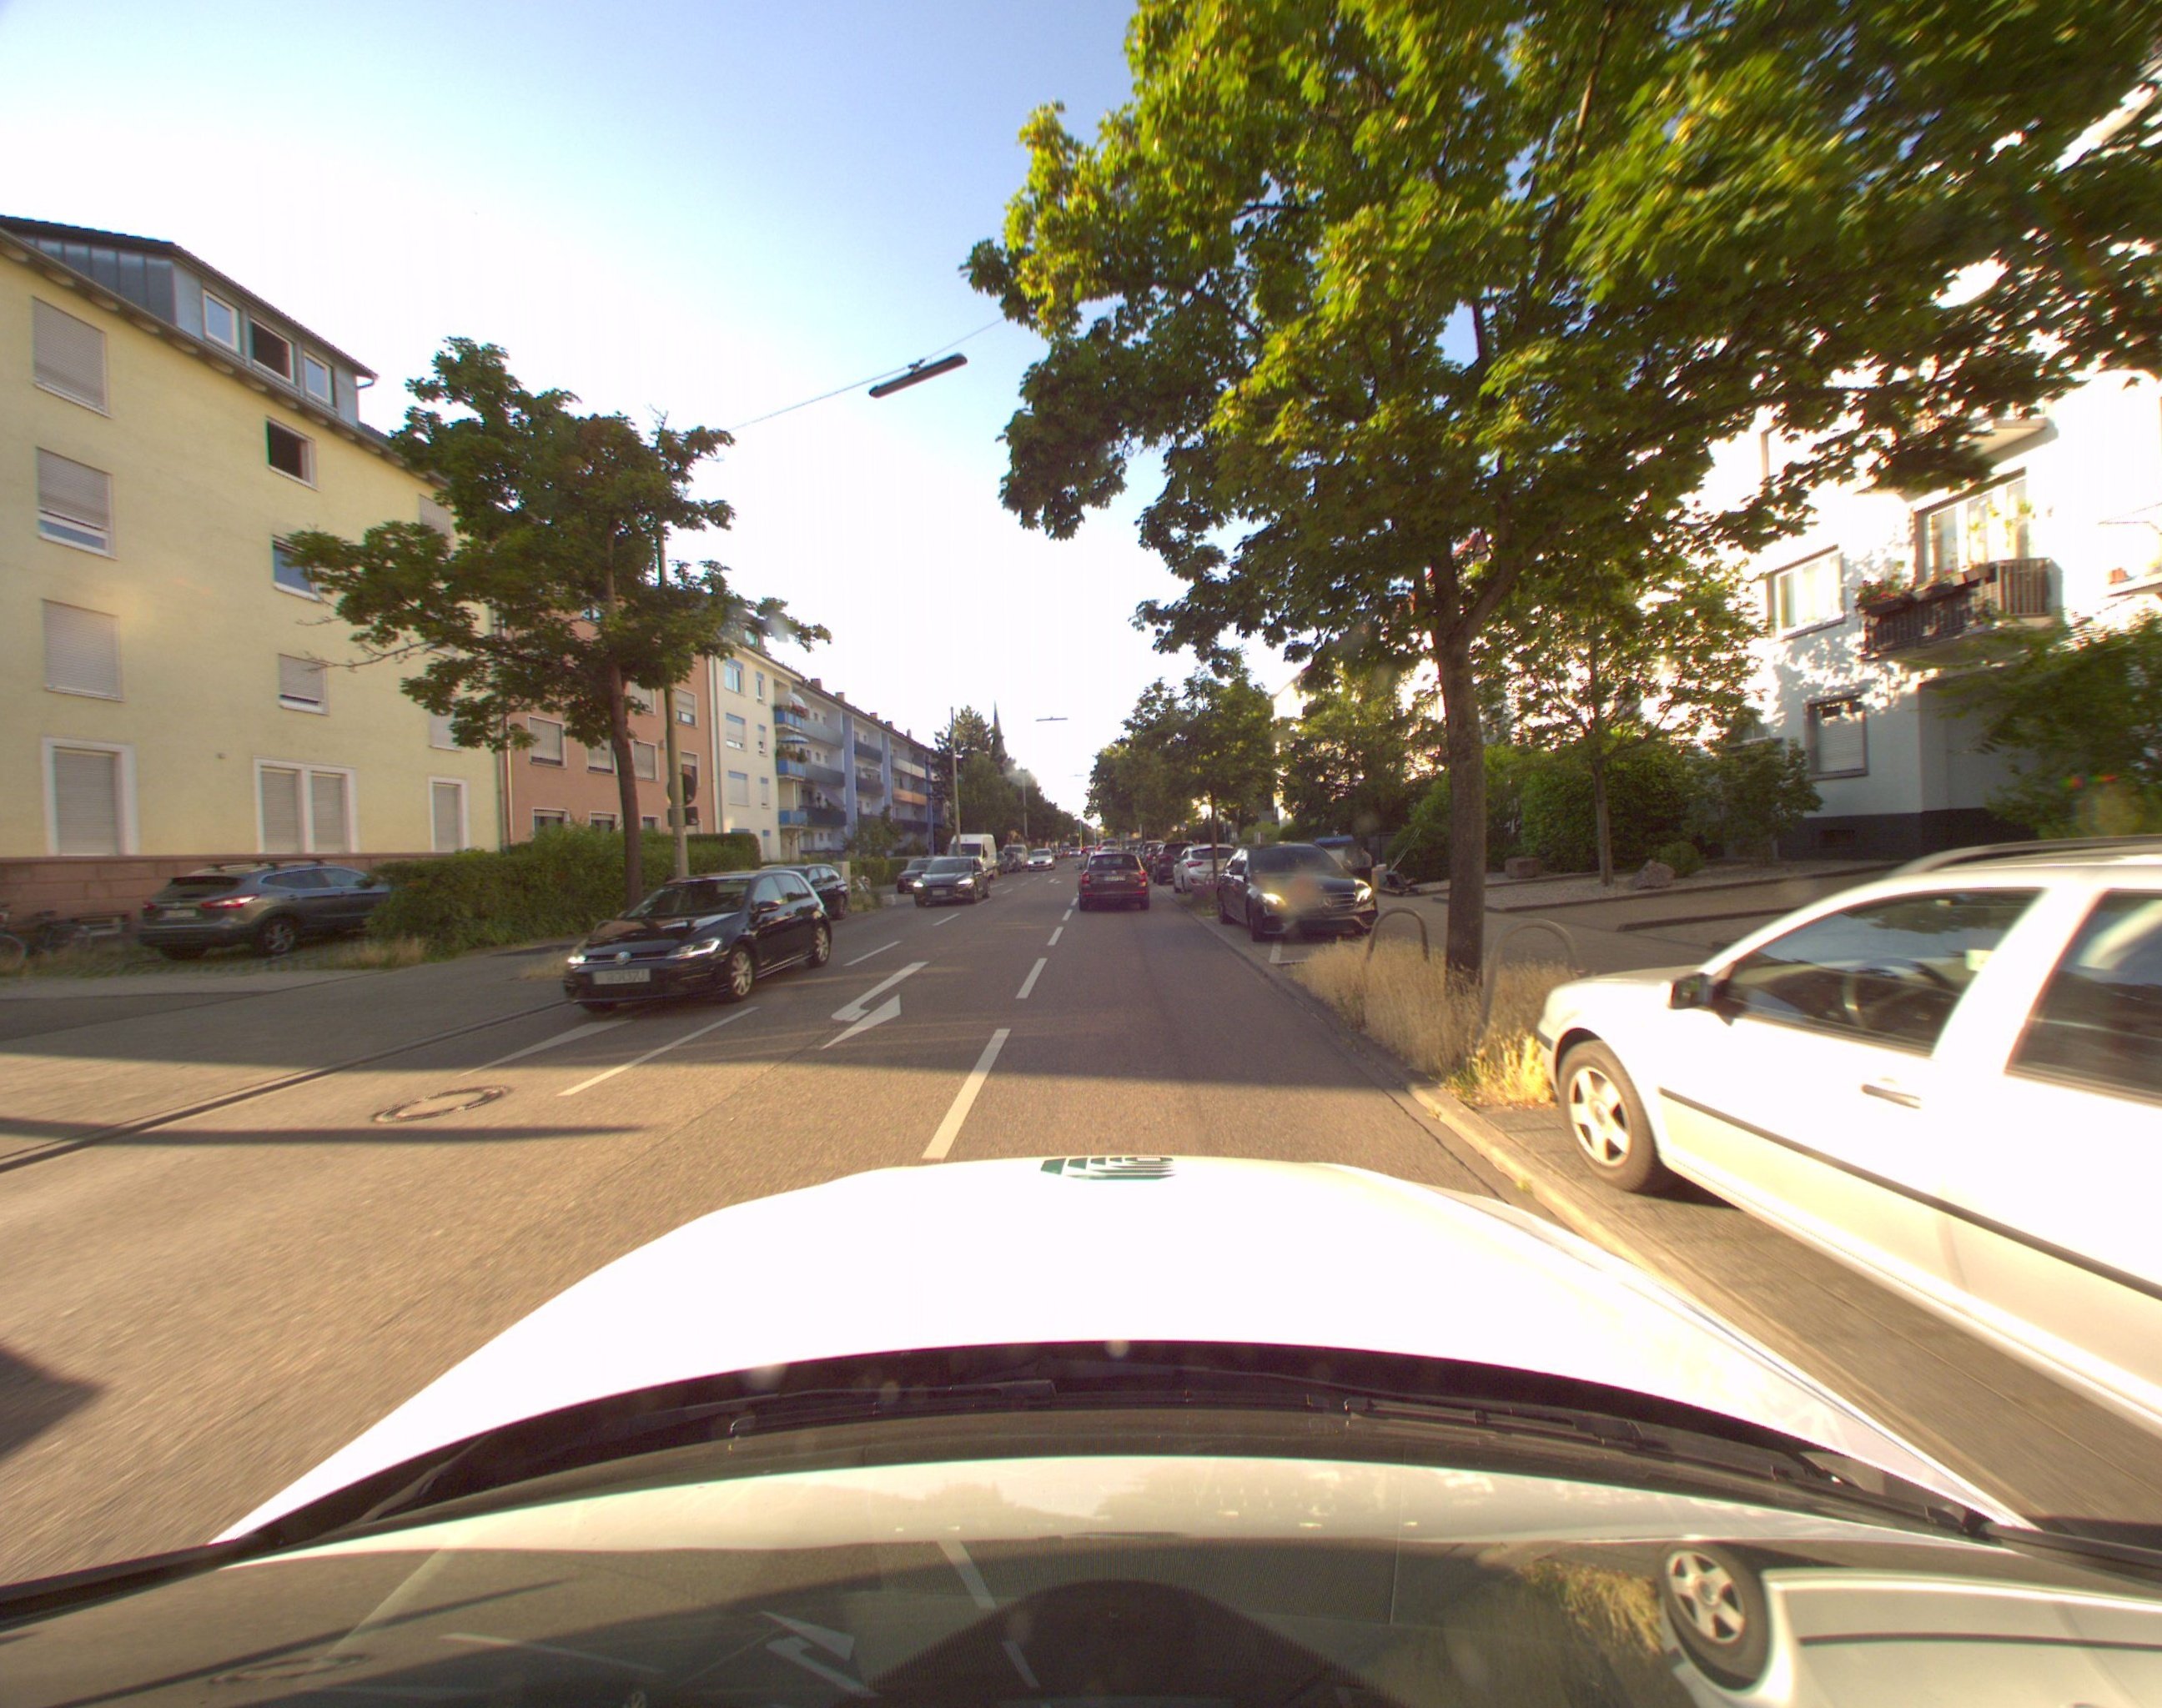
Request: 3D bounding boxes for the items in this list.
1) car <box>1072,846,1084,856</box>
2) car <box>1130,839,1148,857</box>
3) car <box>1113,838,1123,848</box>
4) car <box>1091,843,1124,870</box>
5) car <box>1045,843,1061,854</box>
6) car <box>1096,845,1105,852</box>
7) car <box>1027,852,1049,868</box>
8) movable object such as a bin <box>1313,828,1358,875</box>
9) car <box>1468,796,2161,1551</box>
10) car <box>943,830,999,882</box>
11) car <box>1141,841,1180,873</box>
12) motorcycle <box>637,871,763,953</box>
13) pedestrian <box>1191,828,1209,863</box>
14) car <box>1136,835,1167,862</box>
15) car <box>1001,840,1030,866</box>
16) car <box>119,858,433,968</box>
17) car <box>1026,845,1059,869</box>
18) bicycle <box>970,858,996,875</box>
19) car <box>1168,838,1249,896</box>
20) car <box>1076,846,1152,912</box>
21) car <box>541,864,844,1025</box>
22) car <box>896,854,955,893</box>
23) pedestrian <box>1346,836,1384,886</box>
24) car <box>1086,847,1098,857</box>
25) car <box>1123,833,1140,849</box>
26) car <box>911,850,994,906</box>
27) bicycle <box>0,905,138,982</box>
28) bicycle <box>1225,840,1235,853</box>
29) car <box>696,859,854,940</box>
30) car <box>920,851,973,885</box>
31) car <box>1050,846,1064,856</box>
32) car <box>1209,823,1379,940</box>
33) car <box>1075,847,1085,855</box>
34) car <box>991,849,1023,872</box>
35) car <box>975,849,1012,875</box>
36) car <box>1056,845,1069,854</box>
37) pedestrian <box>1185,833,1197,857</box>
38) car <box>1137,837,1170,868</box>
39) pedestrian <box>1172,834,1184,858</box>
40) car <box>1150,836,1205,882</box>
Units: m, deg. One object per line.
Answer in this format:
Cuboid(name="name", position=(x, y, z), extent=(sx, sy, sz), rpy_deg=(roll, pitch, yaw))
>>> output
Cuboid(name="car", position=(-0.496, -0.432, 129.200), extent=(1.774, 1.494, 3.973), rpy_deg=(-1, 1, 2))
Cuboid(name="car", position=(5.740, -0.592, 81.284), extent=(1.747, 1.686, 4.256), rpy_deg=(-1, 1, 3))
Cuboid(name="car", position=(6.573, -1.995, 145.803), extent=(1.747, 1.805, 4.002), rpy_deg=(-1, 1, 2))
Cuboid(name="car", position=(1.595, 0.151, 49.572), extent=(1.885, 1.506, 3.790), rpy_deg=(1, 0, 1))
Cuboid(name="car", position=(-3.879, -0.794, 111.809), extent=(1.773, 1.480, 4.037), rpy_deg=(-1, 1, 4))
Cuboid(name="car", position=(4.461, -1.309, 185.355), extent=(1.641, 1.598, 3.645), rpy_deg=(-3, 1, -4))
Cuboid(name="car", position=(-4.150, 0.553, 78.577), extent=(1.611, 1.480, 3.876), rpy_deg=(-1, 1, 4))
Cuboid(name="movable object such as a bin", position=(8.708, -0.102, 27.902), extent=(1.259, 1.492, 1.143), rpy_deg=(-5, 0, 11))
Cuboid(name="car", position=(2.968, 0.604, 2.326), extent=(1.631, 1.490, 4.417), rpy_deg=(-4, 1, 1))
Cuboid(name="car", position=(-5.984, 0.047, 45.220), extent=(1.986, 2.616, 7.107), rpy_deg=(-2, 1, 1))
Cuboid(name="car", position=(4.040, 0.111, 41.808), extent=(1.607, 1.466, 3.960), rpy_deg=(-4, 1, 1))
Cuboid(name="motorcycle", position=(-7.088, 1.026, 15.161), extent=(2.034, 1.389, 0.981), rpy_deg=(-1, -1, -31))
Cuboid(name="pedestrian", position=(5.911, -0.431, 40.488), extent=(0.784, 1.700, 0.809), rpy_deg=(-2, 0, 6))
Cuboid(name="car", position=(5.022, -0.418, 58.453), extent=(1.795, 1.808, 4.423), rpy_deg=(-1, 1, -1))
Cuboid(name="car", position=(-5.444, -0.083, 68.377), extent=(1.862, 2.031, 5.302), rpy_deg=(-2, 1, 1))
Cuboid(name="car", position=(-14.814, 0.981, 15.368), extent=(1.821, 1.683, 4.001), rpy_deg=(-2, 0, 1))
Cuboid(name="car", position=(-2.742, 0.186, 58.901), extent=(1.872, 1.543, 4.271), rpy_deg=(-3, 1, 3))
Cuboid(name="bicycle", position=(-5.903, 0.756, 49.194), extent=(1.464, 1.014, 0.441), rpy_deg=(-2, 1, 8))
Cuboid(name="car", position=(3.723, 0.323, 24.455), extent=(1.712, 1.494, 4.394), rpy_deg=(-3, 1, 1))
Cuboid(name="car", position=(0.879, 0.563, 20.961), extent=(1.747, 1.492, 4.004), rpy_deg=(-1, 1, 3))
Cuboid(name="car", position=(-4.529, 0.942, 10.272), extent=(1.694, 1.403, 4.029), rpy_deg=(-5, 1, 1))
Cuboid(name="car", position=(-6.425, 0.771, 33.969), extent=(1.606, 1.473, 3.814), rpy_deg=(-1, 1, 1))
Cuboid(name="pedestrian", position=(7.319, 0.183, 21.012), extent=(0.670, 1.234, 0.791), rpy_deg=(-2, 0, 2))
Cuboid(name="car", position=(1.836, -0.377, 133.498), extent=(1.776, 1.480, 3.969), rpy_deg=(-1, 1, -2))
Cuboid(name="car", position=(6.081, -1.558, 97.863), extent=(1.908, 1.860, 5.638), rpy_deg=(-3, 1, 3))
Cuboid(name="car", position=(-3.910, 0.679, 25.454), extent=(1.694, 1.470, 4.295), rpy_deg=(-4, 1, 1))
Cuboid(name="bicycle", position=(-17.555, 1.498, 13.891), extent=(0.483, 1.089, 2.001), rpy_deg=(-2, 1, 3))
Cuboid(name="bicycle", position=(11.836, -0.613, 64.788), extent=(0.473, 0.944, 1.681), rpy_deg=(-3, 1, 1))
Cuboid(name="car", position=(-6.904, 0.948, 18.979), extent=(1.772, 1.504, 4.590), rpy_deg=(-2, 1, 1))
Cuboid(name="car", position=(-6.358, 0.627, 38.926), extent=(1.700, 1.492, 4.060), rpy_deg=(0, 1, 2))
Cuboid(name="car", position=(-3.639, -0.529, 124.333), extent=(1.773, 1.480, 3.975), rpy_deg=(-1, 1, 4))
Cuboid(name="car", position=(3.486, 0.369, 14.274), extent=(1.866, 1.581, 4.825), rpy_deg=(-4, 1, 3))
Cuboid(name="car", position=(-0.247, -0.751, 194.223), extent=(1.989, 1.749, 3.995), rpy_deg=(-3, 1, -4))
Cuboid(name="car", position=(-5.400, 0.435, 59.998), extent=(1.685, 1.483, 4.148), rpy_deg=(-3, 1, 4))
Cuboid(name="car", position=(-5.819, 0.521, 54.555), extent=(1.665, 1.543, 4.477), rpy_deg=(-3, 1, 3))
Cuboid(name="car", position=(-3.134, -0.796, 140.501), extent=(1.773, 1.480, 3.975), rpy_deg=(-1, 1, 4))
Cuboid(name="pedestrian", position=(8.581, -0.704, 63.580), extent=(0.793, 1.861, 0.954), rpy_deg=(-3, 0, 12))
Cuboid(name="car", position=(4.327, -0.127, 49.279), extent=(1.747, 1.662, 4.256), rpy_deg=(-4, 1, 3))
Cuboid(name="pedestrian", position=(7.654, -0.646, 64.076), extent=(0.746, 1.861, 1.068), rpy_deg=(-3, 0, 1))
Cuboid(name="car", position=(3.735, 0.156, 32.123), extent=(1.712, 1.601, 4.097), rpy_deg=(-3, 1, 1))
